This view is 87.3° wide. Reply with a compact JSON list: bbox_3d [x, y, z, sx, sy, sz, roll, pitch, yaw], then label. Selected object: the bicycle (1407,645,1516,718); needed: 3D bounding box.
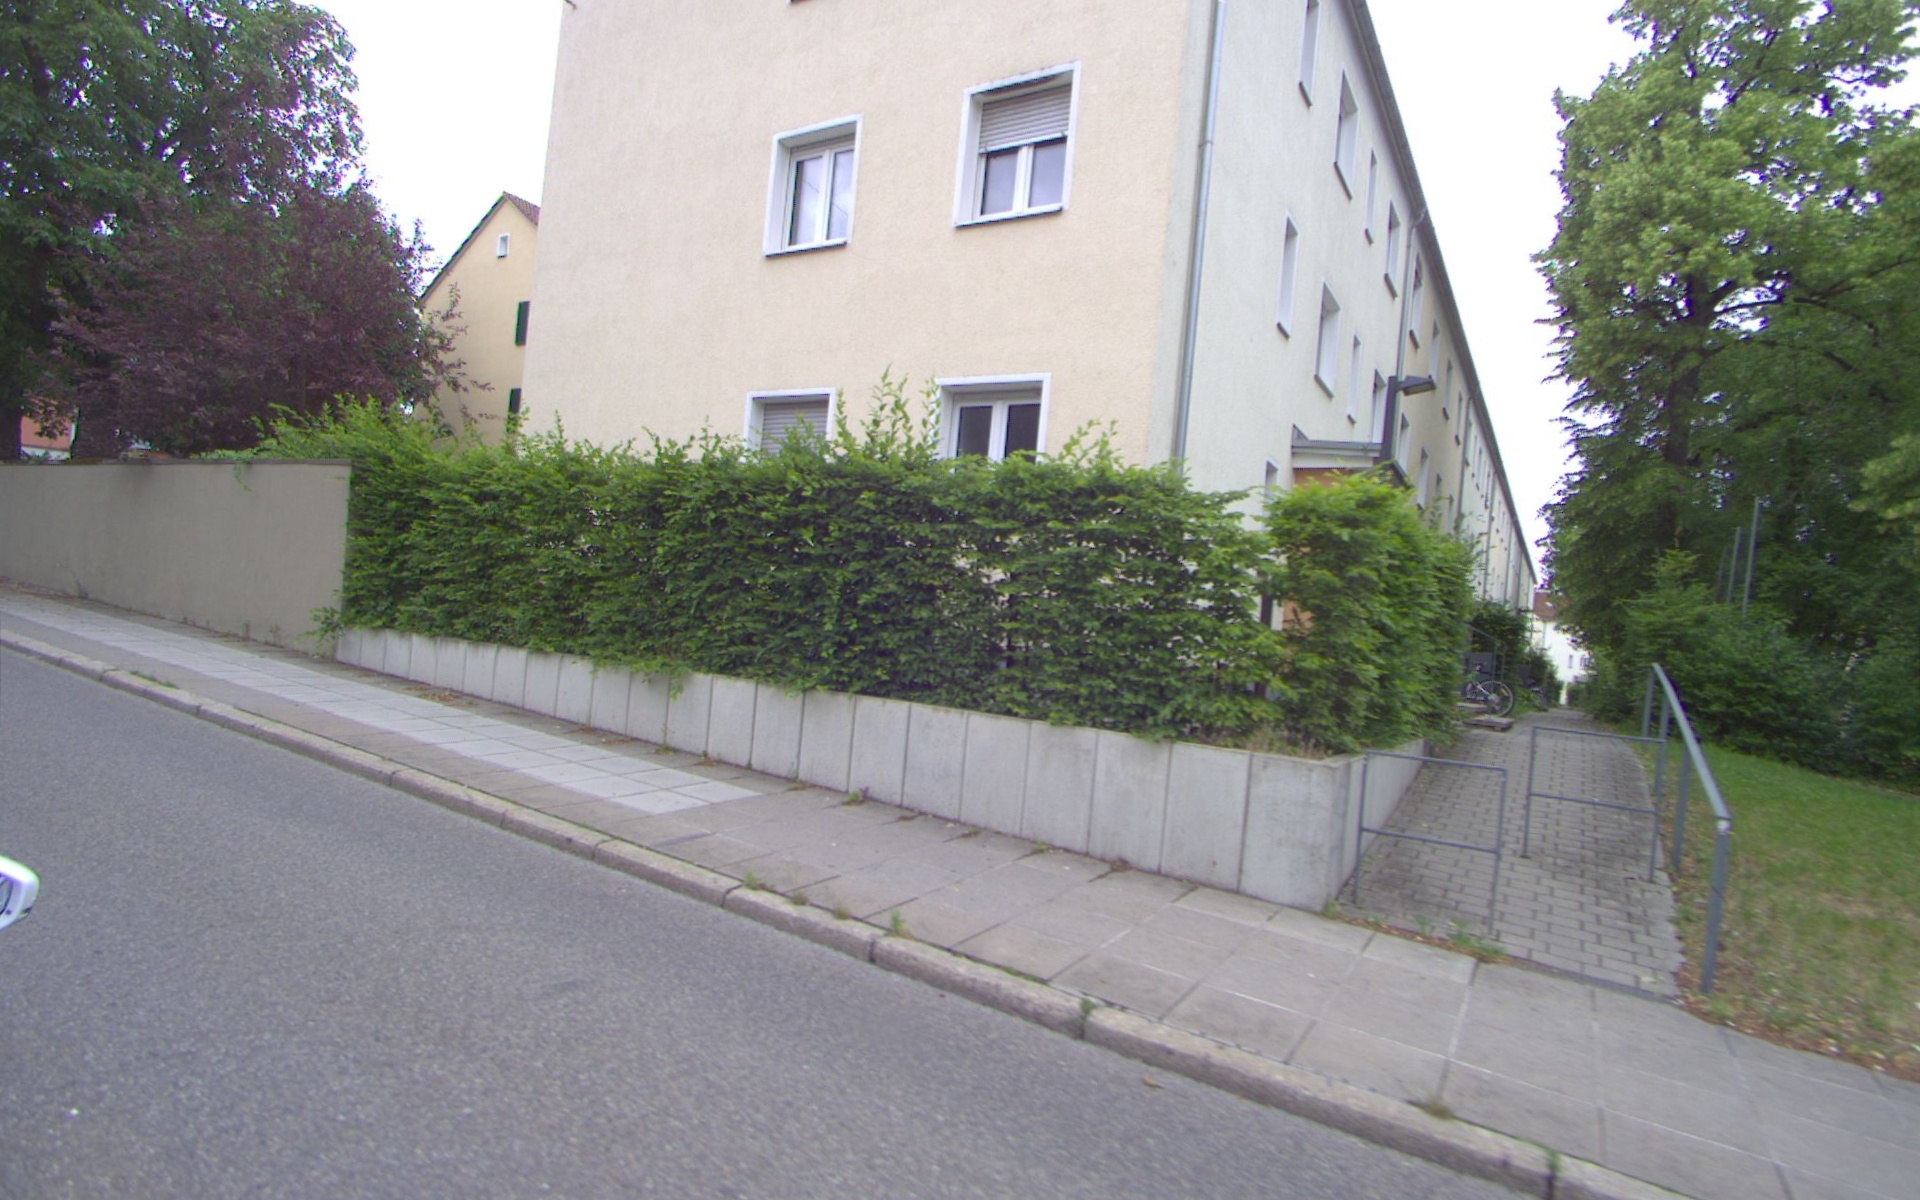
[{"bbox_3d":[8.299,1.343,16.680,1.508,1.008,0.350,6,-1,32],"label":"bicycle"}]
